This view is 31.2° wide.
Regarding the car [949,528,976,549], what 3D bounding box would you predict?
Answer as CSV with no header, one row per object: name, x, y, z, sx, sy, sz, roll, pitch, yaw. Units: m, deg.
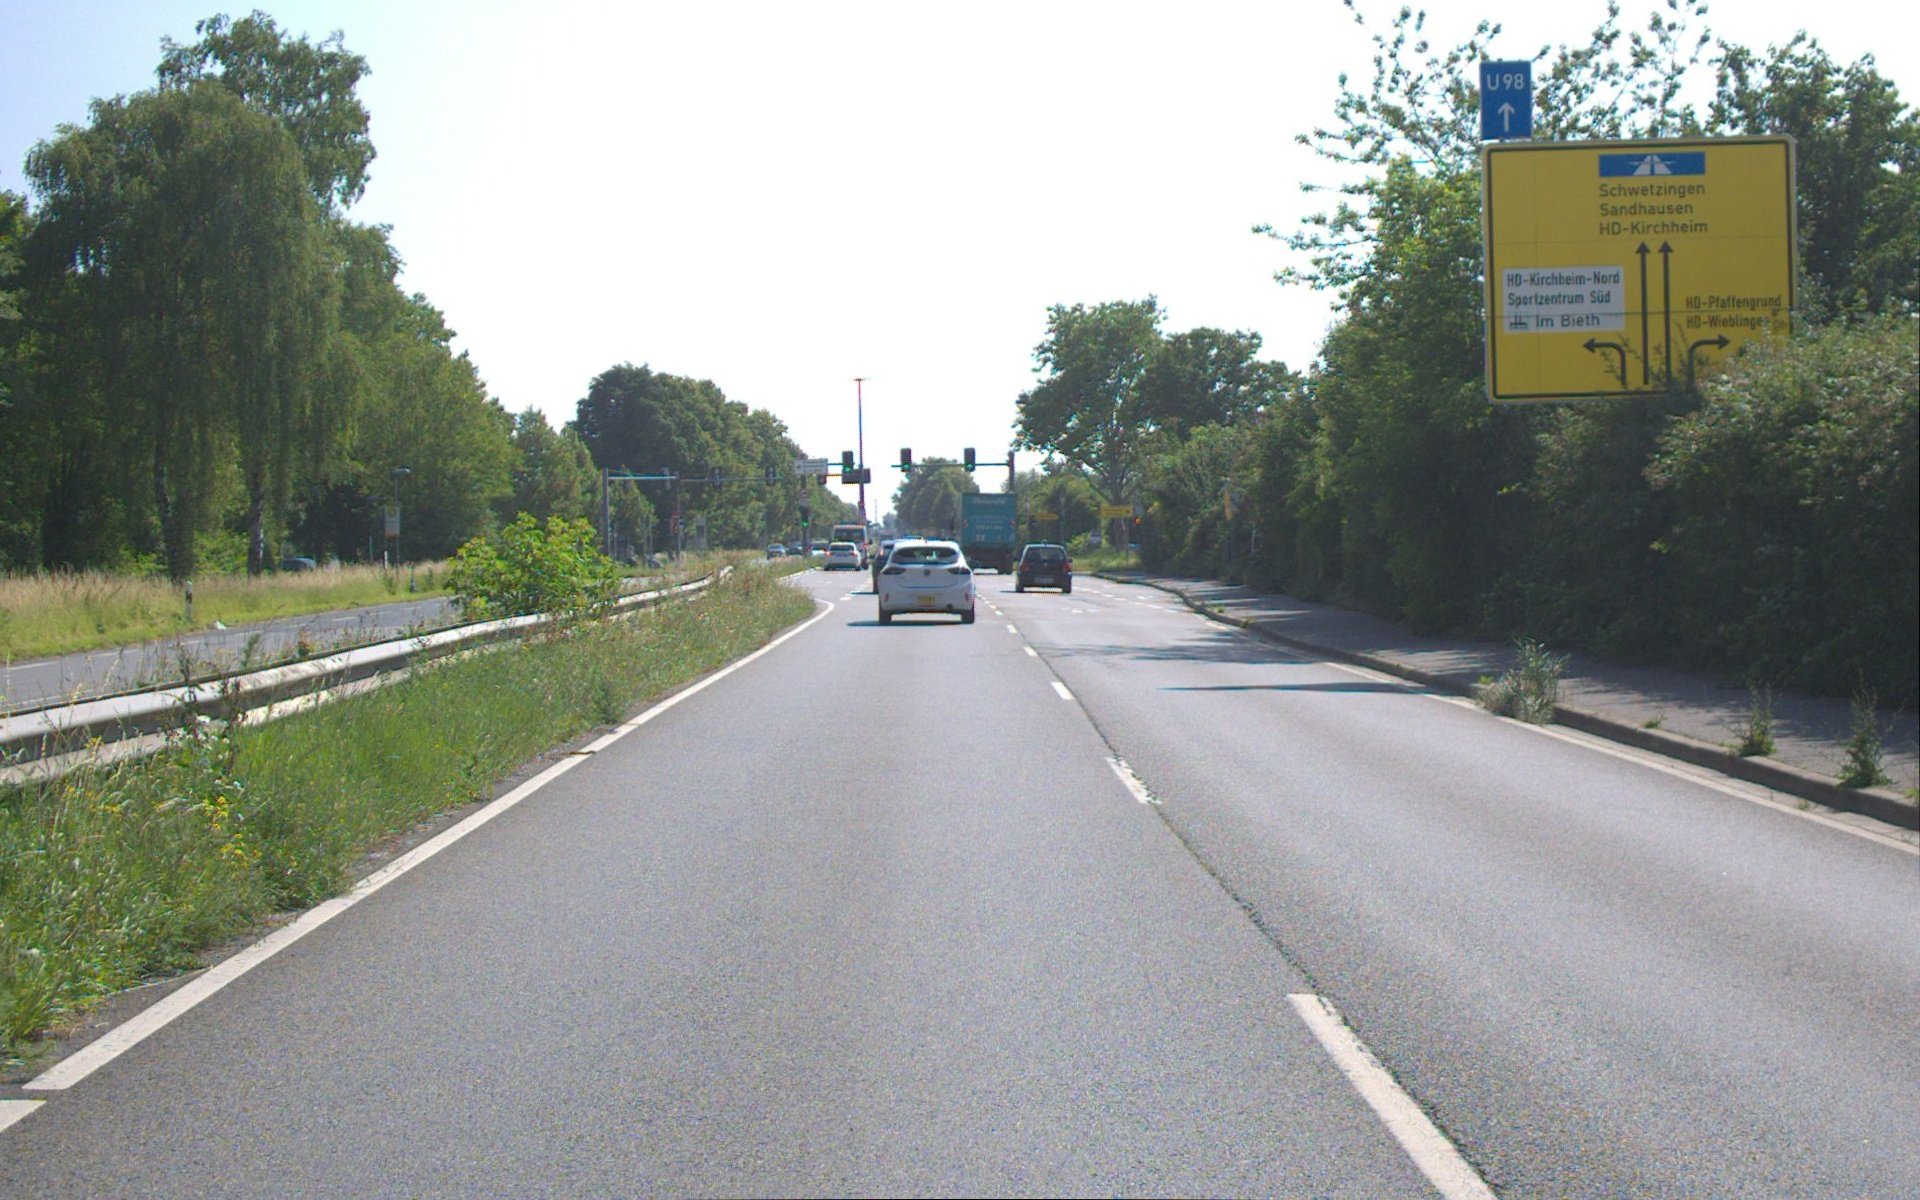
car,0.188,-4.439,248.027,1.812,1.459,4.460,-2,1,2

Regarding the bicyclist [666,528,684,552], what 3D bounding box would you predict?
bicyclist,-18.829,-3.953,227.128,0.863,1.613,0.757,0,1,27

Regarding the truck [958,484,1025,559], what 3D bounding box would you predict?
truck,1.460,-3.705,162.125,2.891,3.417,9.170,-1,1,-1

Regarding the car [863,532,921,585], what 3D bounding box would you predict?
car,-1.895,-1.173,95.812,1.572,1.409,3.278,1,1,-1

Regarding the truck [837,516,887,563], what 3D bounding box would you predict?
truck,-5.187,-3.239,183.196,2.373,2.380,6.041,1,2,1

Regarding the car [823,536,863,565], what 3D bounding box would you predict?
car,-5.995,-2.530,176.228,1.812,1.459,4.971,0,1,1

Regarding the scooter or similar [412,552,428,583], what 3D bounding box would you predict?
scooter or similar,-20.555,-1.240,130.949,0.368,1.182,1.341,-3,1,-1

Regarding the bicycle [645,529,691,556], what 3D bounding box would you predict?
bicycle,-19.289,-3.808,227.360,2.796,1.664,1.134,-1,1,27

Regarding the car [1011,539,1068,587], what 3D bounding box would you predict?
car,2.353,-1.091,102.216,1.572,1.410,3.277,0,0,-1

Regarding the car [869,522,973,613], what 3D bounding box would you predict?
car,-0.669,-0.598,61.385,1.798,1.547,4.000,0,2,0
